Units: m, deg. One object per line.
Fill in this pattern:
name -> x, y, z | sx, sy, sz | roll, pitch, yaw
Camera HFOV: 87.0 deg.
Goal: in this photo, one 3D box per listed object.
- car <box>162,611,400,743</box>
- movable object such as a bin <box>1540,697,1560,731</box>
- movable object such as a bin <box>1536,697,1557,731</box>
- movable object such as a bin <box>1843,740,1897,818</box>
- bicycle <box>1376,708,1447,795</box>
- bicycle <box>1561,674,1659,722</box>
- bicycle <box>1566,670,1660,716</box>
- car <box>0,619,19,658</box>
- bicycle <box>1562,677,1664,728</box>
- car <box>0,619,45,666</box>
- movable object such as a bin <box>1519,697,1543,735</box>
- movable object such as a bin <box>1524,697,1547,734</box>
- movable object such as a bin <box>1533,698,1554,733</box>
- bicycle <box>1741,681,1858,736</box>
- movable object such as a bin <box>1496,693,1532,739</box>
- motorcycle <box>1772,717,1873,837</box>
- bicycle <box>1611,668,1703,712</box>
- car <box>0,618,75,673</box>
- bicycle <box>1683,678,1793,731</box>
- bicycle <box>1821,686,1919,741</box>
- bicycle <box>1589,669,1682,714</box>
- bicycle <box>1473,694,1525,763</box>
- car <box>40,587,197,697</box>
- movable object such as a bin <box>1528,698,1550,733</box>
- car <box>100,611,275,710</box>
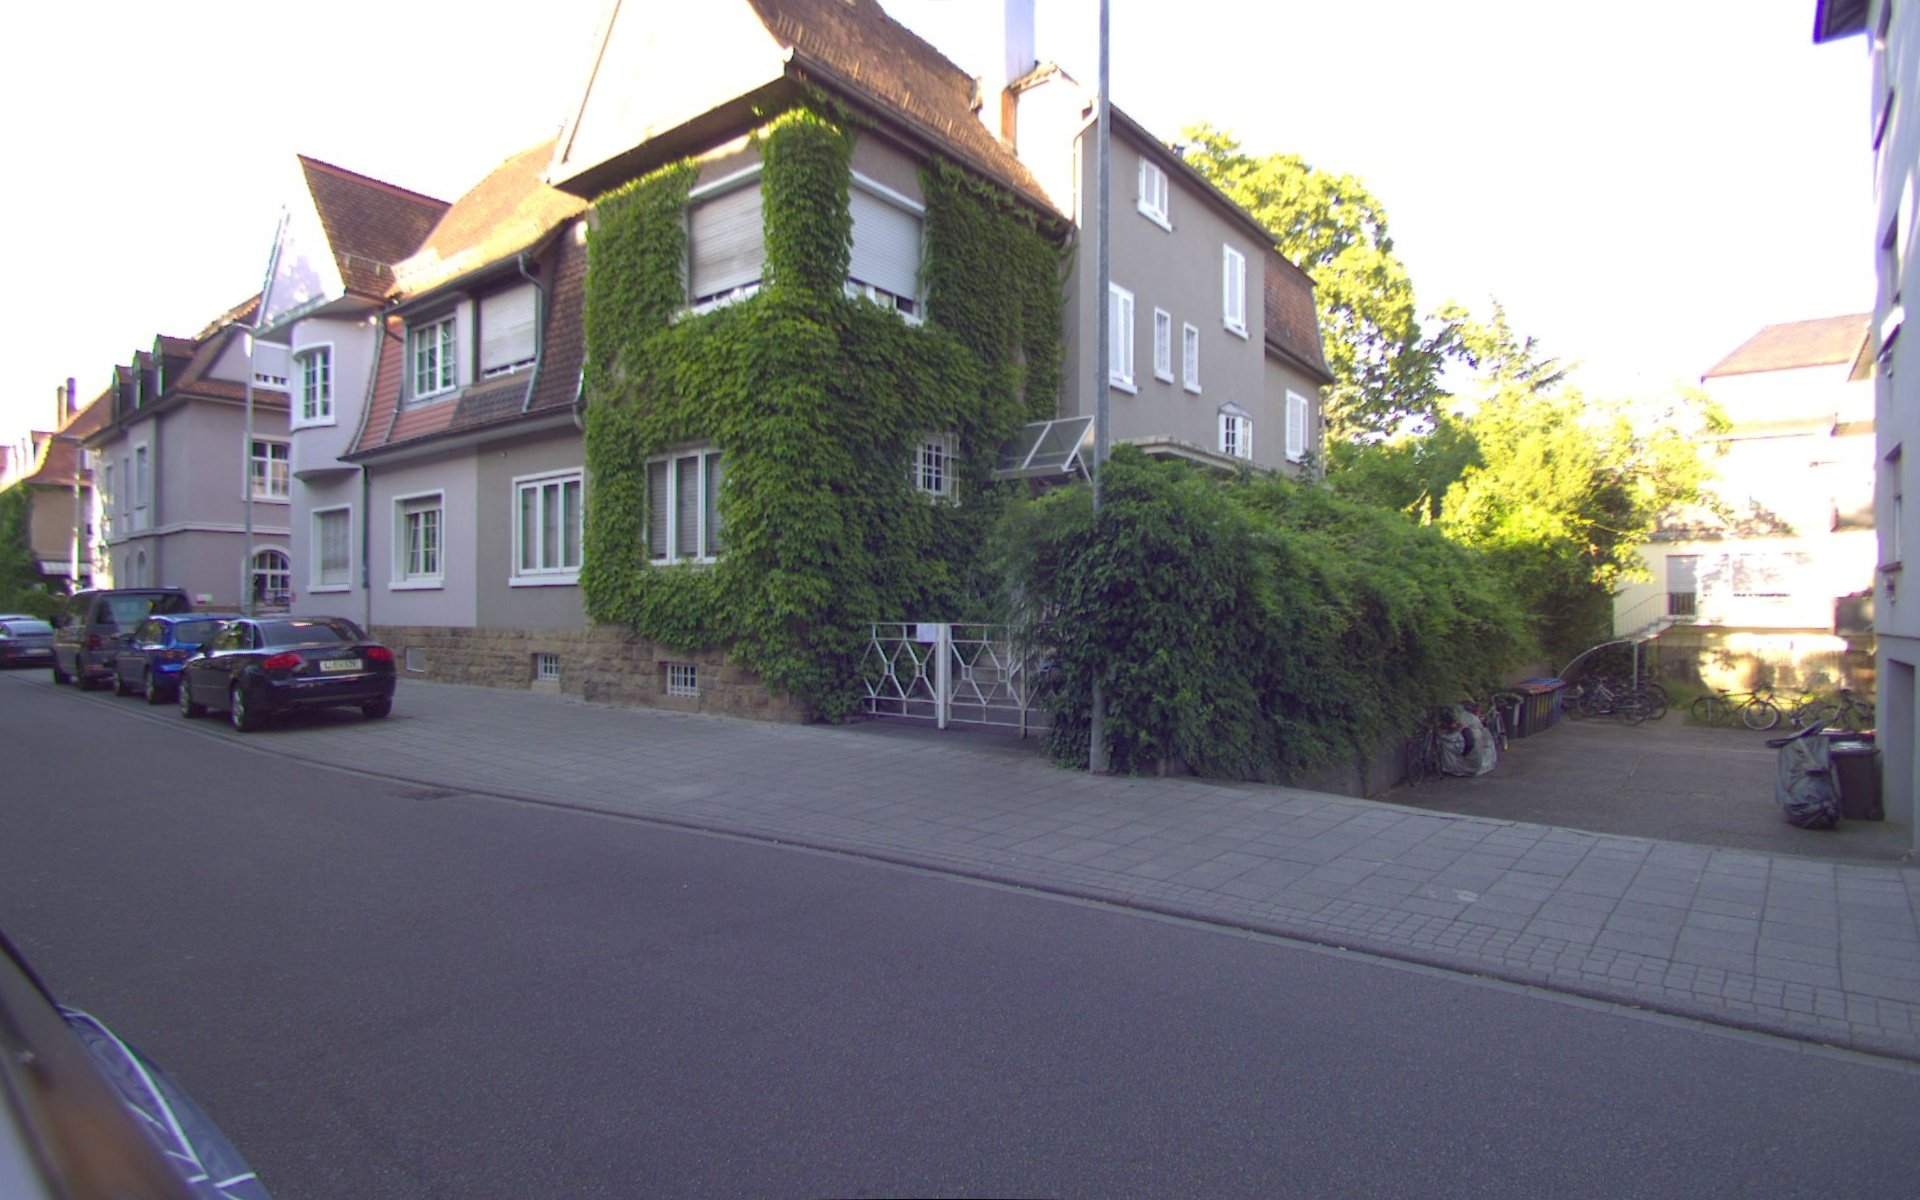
car -> -9.366, 0.921, 13.841 | 4.023, 1.439, 1.729 | 0, 2, 42
movable object such as a bin -> 13.789, 2.660, 23.658 | 0.346, 0.764, 0.359 | -1, -4, 41
movable object such as a bin -> 13.541, 2.629, 23.353 | 0.367, 0.764, 0.359 | -1, -4, 41
movable object such as a bin -> 11.765, 2.301, 13.096 | 0.432, 0.894, 0.717 | -1, -3, 37
bicycle -> 6.783, 2.234, 15.151 | 0.514, 1.027, 1.914 | 1, 0, 38
bicycle -> 16.844, 2.523, 26.268 | 2.068, 1.028, 0.565 | 1, 3, 41
bicycle -> 17.704, 2.511, 27.470 | 2.068, 1.028, 0.608 | 1, 3, 41
car -> -36.516, 1.444, 37.675 | 3.942, 1.381, 1.698 | -1, 1, 40
bicycle -> 16.279, 2.530, 25.256 | 2.068, 1.028, 0.634 | 1, 3, 41
car -> -30.300, 1.335, 31.967 | 3.942, 1.381, 1.522 | -1, 1, 40
movable object such as a bin -> 12.506, 2.535, 22.159 | 0.398, 0.779, 0.359 | -1, -4, 41
movable object such as a bin -> 12.775, 2.567, 22.462 | 0.381, 0.779, 0.359 | -1, -4, 41
movable object such as a bin -> 13.289, 2.618, 23.056 | 0.367, 0.764, 0.359 | -1, -4, 41
bicycle -> 19.589, 2.519, 23.644 | 2.068, 1.028, 0.634 | 1, 3, 41
movable object such as a bin -> 11.548, 2.408, 21.094 | 0.576, 0.886, 0.488 | 0, -3, 41
motorcycle -> 10.719, 2.155, 12.628 | 0.757, 1.261, 1.575 | -1, -3, 34
bicycle -> 19.423, 2.489, 28.240 | 2.068, 1.028, 0.561 | 1, 3, 41
car -> -26.383, 1.233, 28.382 | 4.331, 1.381, 1.698 | -1, 1, 40
bicycle -> 18.721, 2.498, 24.390 | 2.068, 1.028, 0.634 | 1, 3, 41
bicycle -> 20.674, 2.540, 22.680 | 2.068, 1.028, 0.634 | 1, 3, 41
bicycle -> 18.622, 2.499, 27.936 | 2.068, 1.028, 0.608 | 1, 3, 41
bicycle -> 9.961, 2.339, 18.670 | 0.514, 1.027, 1.914 | 1, 0, 38
car -> -17.478, 0.786, 20.953 | 4.308, 1.987, 1.698 | 0, 2, 40
movable object such as a bin -> 13.027, 2.595, 22.763 | 0.375, 0.764, 0.359 | -1, -4, 41
car -> -13.681, 0.973, 17.844 | 4.021, 1.475, 1.591 | 0, 2, 40
